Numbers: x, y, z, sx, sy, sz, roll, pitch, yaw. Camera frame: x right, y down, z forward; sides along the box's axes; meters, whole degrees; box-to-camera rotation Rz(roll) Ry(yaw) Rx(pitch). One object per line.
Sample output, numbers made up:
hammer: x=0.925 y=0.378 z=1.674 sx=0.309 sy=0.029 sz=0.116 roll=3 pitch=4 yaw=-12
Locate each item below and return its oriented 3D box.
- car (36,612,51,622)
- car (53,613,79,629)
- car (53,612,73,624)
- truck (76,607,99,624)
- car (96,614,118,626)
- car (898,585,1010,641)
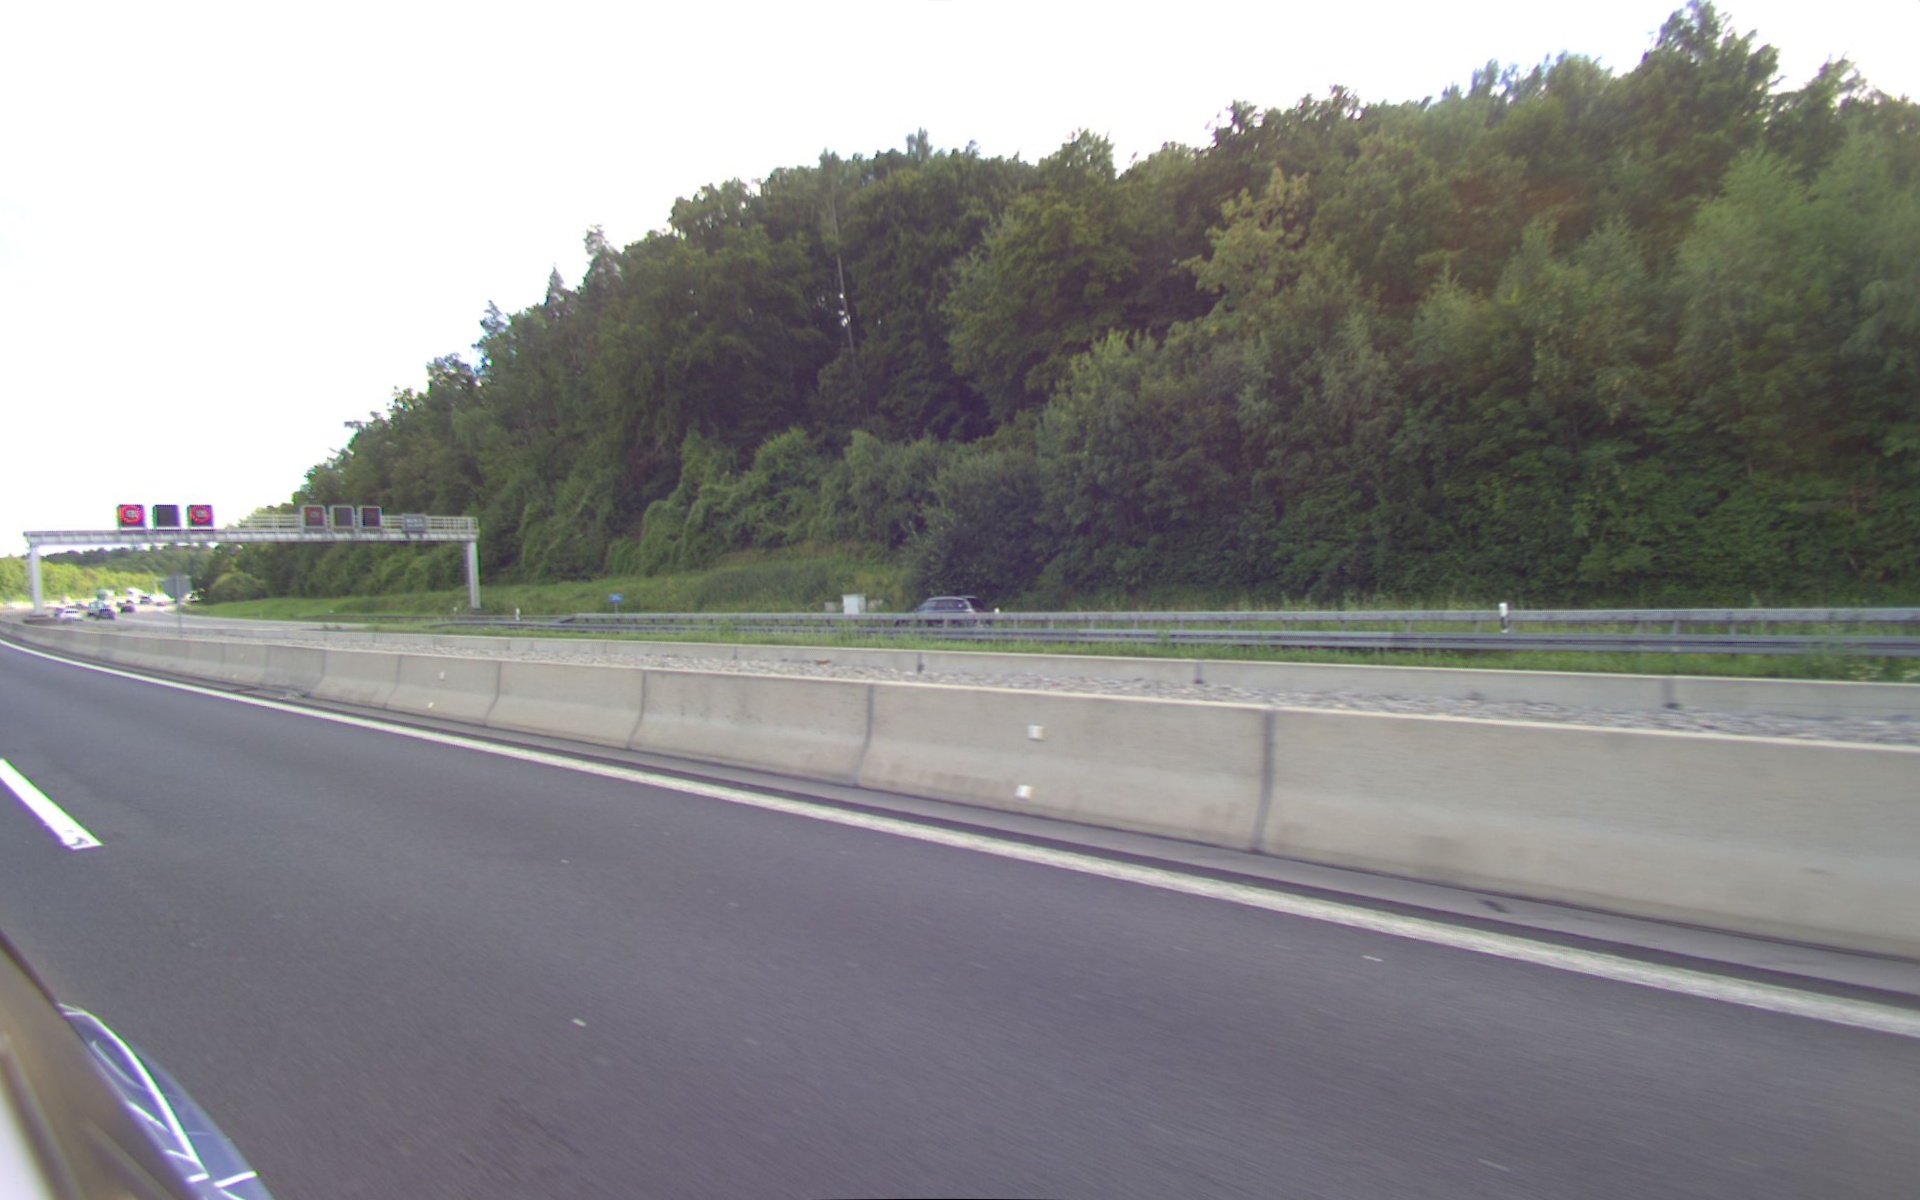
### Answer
car: x=-137.357 y=2.532 z=151.637 sx=1.547 sy=1.461 sz=3.892 roll=-1 pitch=0 yaw=-44
car: x=-93.733 y=2.222 z=106.132 sx=1.744 sy=1.593 sz=4.935 roll=-1 pitch=0 yaw=-45
car: x=-122.031 y=2.435 z=137.653 sx=1.970 sy=1.653 sz=4.004 roll=-1 pitch=0 yaw=-43
truck: x=-124.499 y=2.201 z=144.454 sx=2.158 sy=2.242 sz=5.575 roll=0 pitch=0 yaw=-44
car: x=-105.323 y=2.405 z=124.945 sx=1.647 sy=1.406 sz=4.604 roll=-1 pitch=0 yaw=-45
car: x=-0.248 y=0.490 z=38.901 sx=3.999 sy=2.029 sz=1.972 roll=-1 pitch=0 yaw=42
